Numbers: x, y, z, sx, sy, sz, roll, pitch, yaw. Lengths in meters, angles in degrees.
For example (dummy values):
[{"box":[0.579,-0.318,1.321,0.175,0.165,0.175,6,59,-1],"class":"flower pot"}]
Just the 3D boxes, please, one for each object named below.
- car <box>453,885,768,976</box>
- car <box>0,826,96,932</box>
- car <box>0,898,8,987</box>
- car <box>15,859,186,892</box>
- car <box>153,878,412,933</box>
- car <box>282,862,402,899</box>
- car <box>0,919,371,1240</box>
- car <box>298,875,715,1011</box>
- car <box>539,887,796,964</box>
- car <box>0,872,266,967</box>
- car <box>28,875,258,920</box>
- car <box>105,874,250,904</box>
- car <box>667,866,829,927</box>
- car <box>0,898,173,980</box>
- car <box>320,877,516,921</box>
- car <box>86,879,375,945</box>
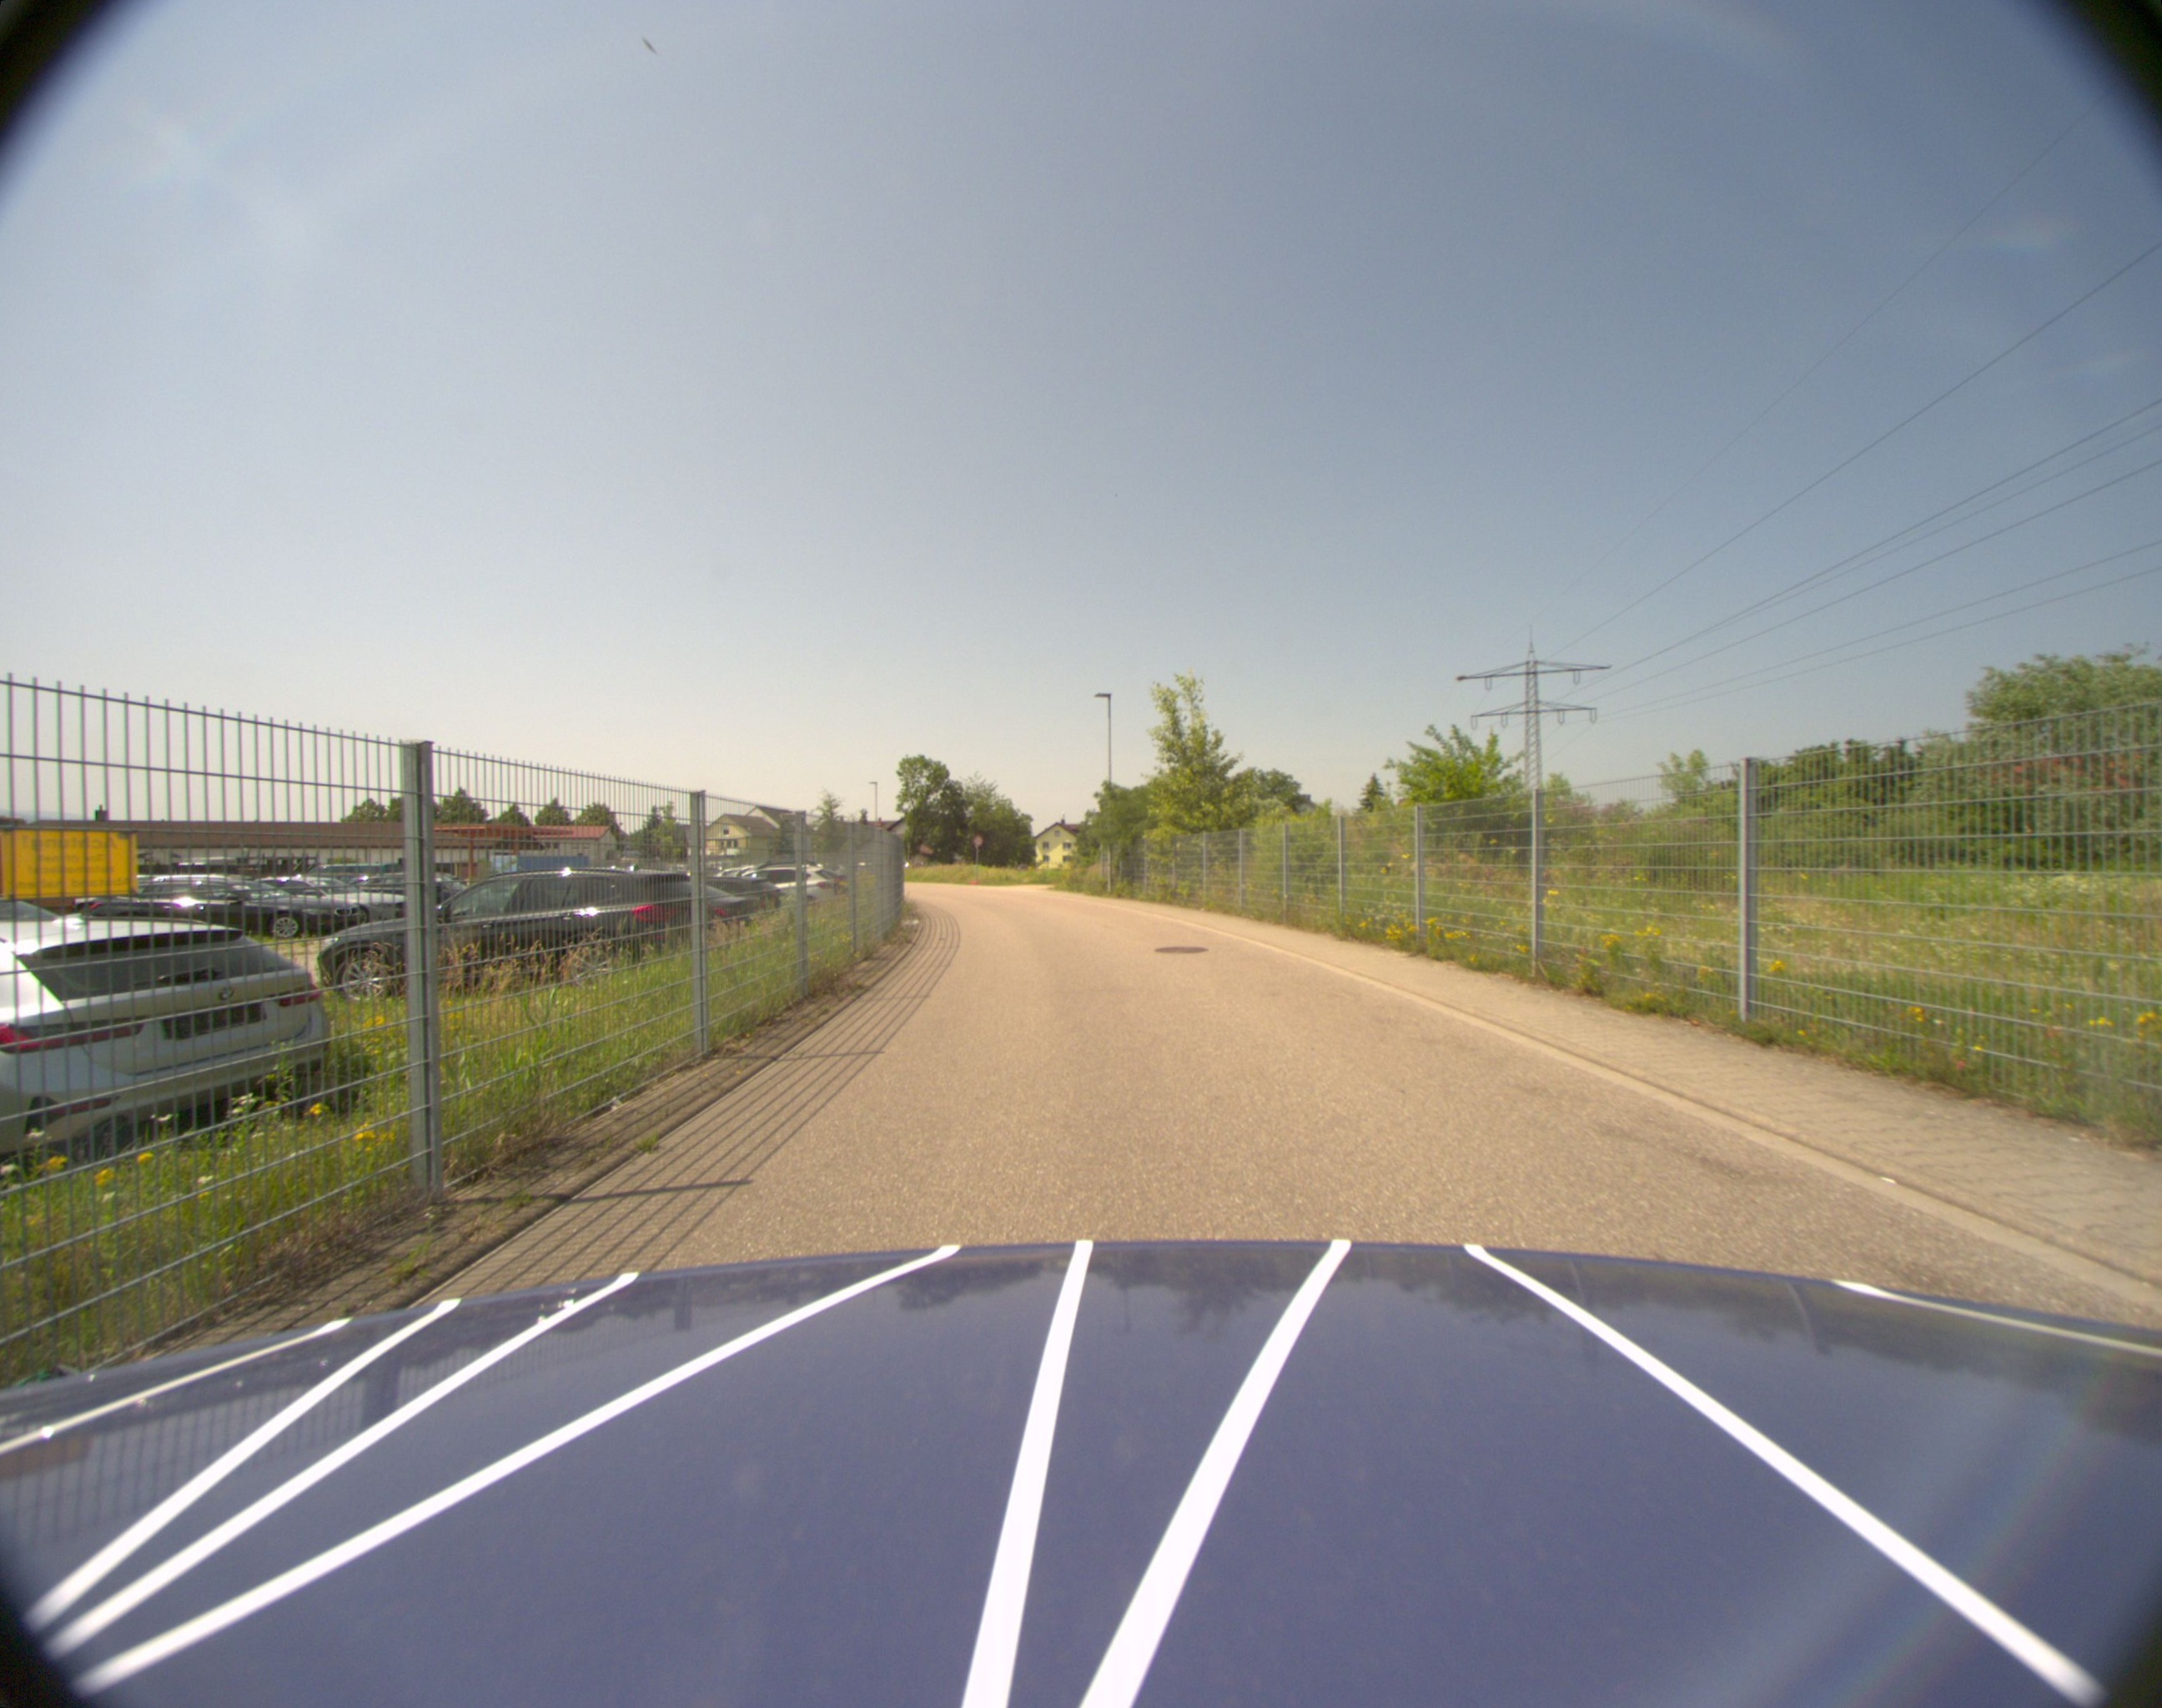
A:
[{"box":[-7.922,1.257,13.115,4.292,1.370,1.764,0,0,-3],"class":"car"},{"box":[-28.477,0.635,18.831,4.749,2.569,1.978,0,0,-15],"class":"car"},{"box":[-19.101,1.433,11.117,3.775,1.428,1.610,0,0,-15],"class":"car"},{"box":[-43.006,0.908,33.444,4.392,1.369,1.840,0,0,-15],"class":"car"},{"box":[-22.126,1.397,21.299,4.762,1.344,1.819,0,0,-15],"class":"car"},{"box":[-40.829,1.441,42.101,4.392,1.970,1.840,0,0,-15],"class":"car"},{"box":[-7.331,1.314,4.586,4.221,1.398,1.838,-4,1,-1],"class":"car"},{"box":[-7.578,1.127,10.379,4.292,1.627,1.764,0,0,-2],"class":"car"},{"box":[-8.402,1.431,15.816,4.354,1.370,1.763,0,0,-9],"class":"car"},{"box":[-20.649,1.336,16.163,4.001,1.708,1.997,-1,2,-13],"class":"car"},{"box":[-29.830,1.349,24.340,4.392,1.262,1.819,0,0,-15],"class":"car"},{"box":[-44.929,1.707,37.902,4.392,1.369,1.840,0,0,-15],"class":"car"},{"box":[-9.595,1.191,22.246,4.138,1.660,1.721,0,0,-16],"class":"car"},{"box":[-19.192,1.499,13.444,3.775,1.294,1.610,0,0,-15],"class":"car"},{"box":[-22.551,1.509,26.062,4.762,1.344,1.819,0,0,-15],"class":"car"},{"box":[-20.749,1.372,18.768,4.578,1.424,1.660,0,0,-15],"class":"car"}]
